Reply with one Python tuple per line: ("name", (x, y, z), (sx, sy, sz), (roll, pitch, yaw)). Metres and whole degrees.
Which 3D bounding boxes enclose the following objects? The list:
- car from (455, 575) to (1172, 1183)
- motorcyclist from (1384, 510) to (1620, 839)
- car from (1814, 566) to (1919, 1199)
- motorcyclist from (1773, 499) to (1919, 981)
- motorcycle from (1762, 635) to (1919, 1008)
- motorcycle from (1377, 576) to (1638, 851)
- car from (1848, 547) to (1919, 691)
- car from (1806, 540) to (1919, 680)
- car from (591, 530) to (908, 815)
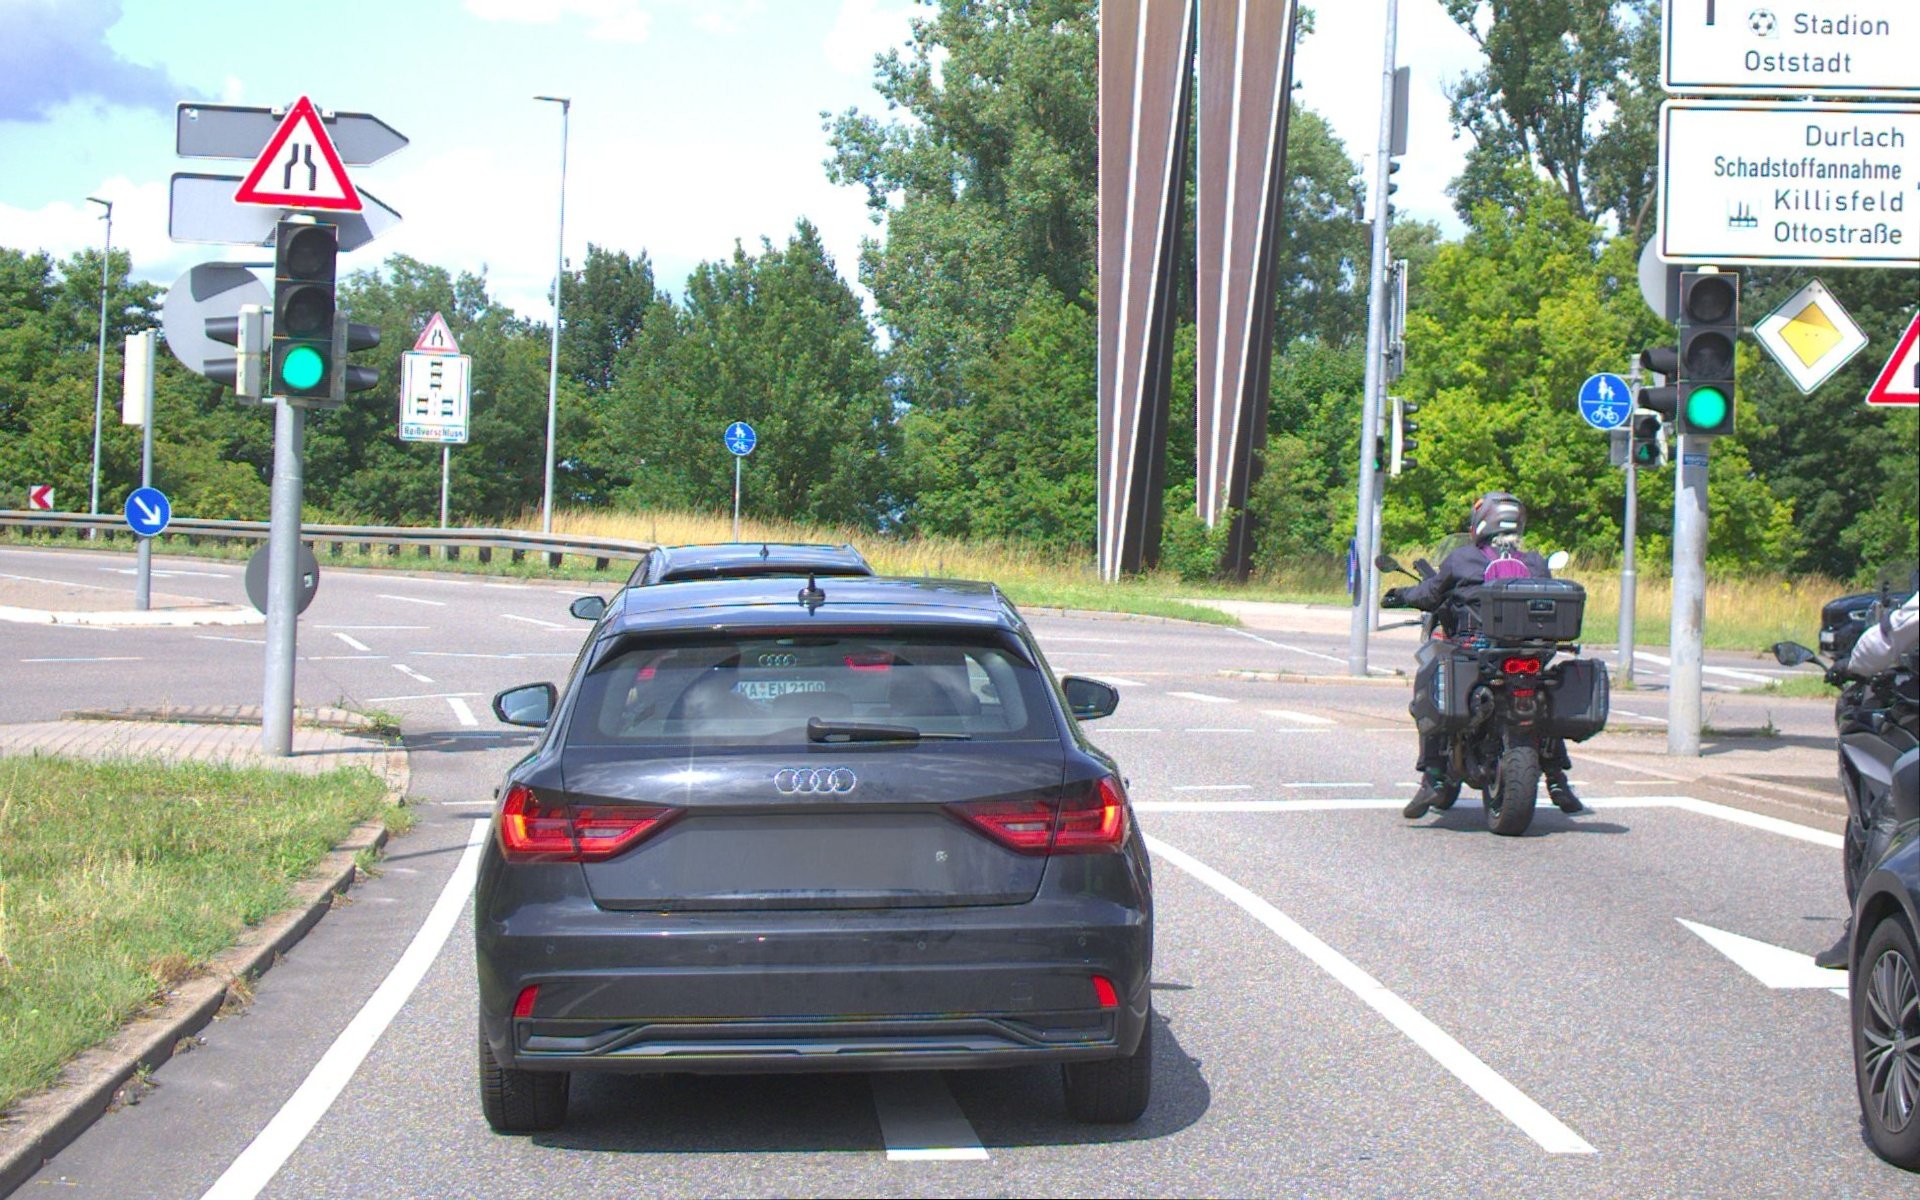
("car", (-0.366, 0.644, 9.962), (1.682, 1.383, 3.739), (0, 1, -1))
("motorcyclist", (2.740, 0.357, 17.497), (0.966, 1.590, 1.125), (2, 1, -1))
("car", (3.093, 0.706, 6.868), (1.642, 1.473, 3.873), (1, 1, -2))
("motorcyclist", (3.515, 0.473, 12.132), (0.966, 1.614, 1.125), (2, 1, -1))
("motorcycle", (3.484, 0.738, 11.910), (0.789, 1.128, 2.399), (2, 1, -1))
("motorcycle", (2.750, 0.534, 17.567), (0.887, 1.243, 2.399), (2, 1, -1))
("car", (12.717, 0.308, 39.831), (4.280, 1.611, 1.845), (3, 0, -3))
("car", (13.016, 0.190, 43.203), (4.201, 1.640, 1.838), (3, 2, -3))
("car", (-1.187, 0.345, 20.070), (1.642, 1.473, 3.873), (1, 1, -2))
